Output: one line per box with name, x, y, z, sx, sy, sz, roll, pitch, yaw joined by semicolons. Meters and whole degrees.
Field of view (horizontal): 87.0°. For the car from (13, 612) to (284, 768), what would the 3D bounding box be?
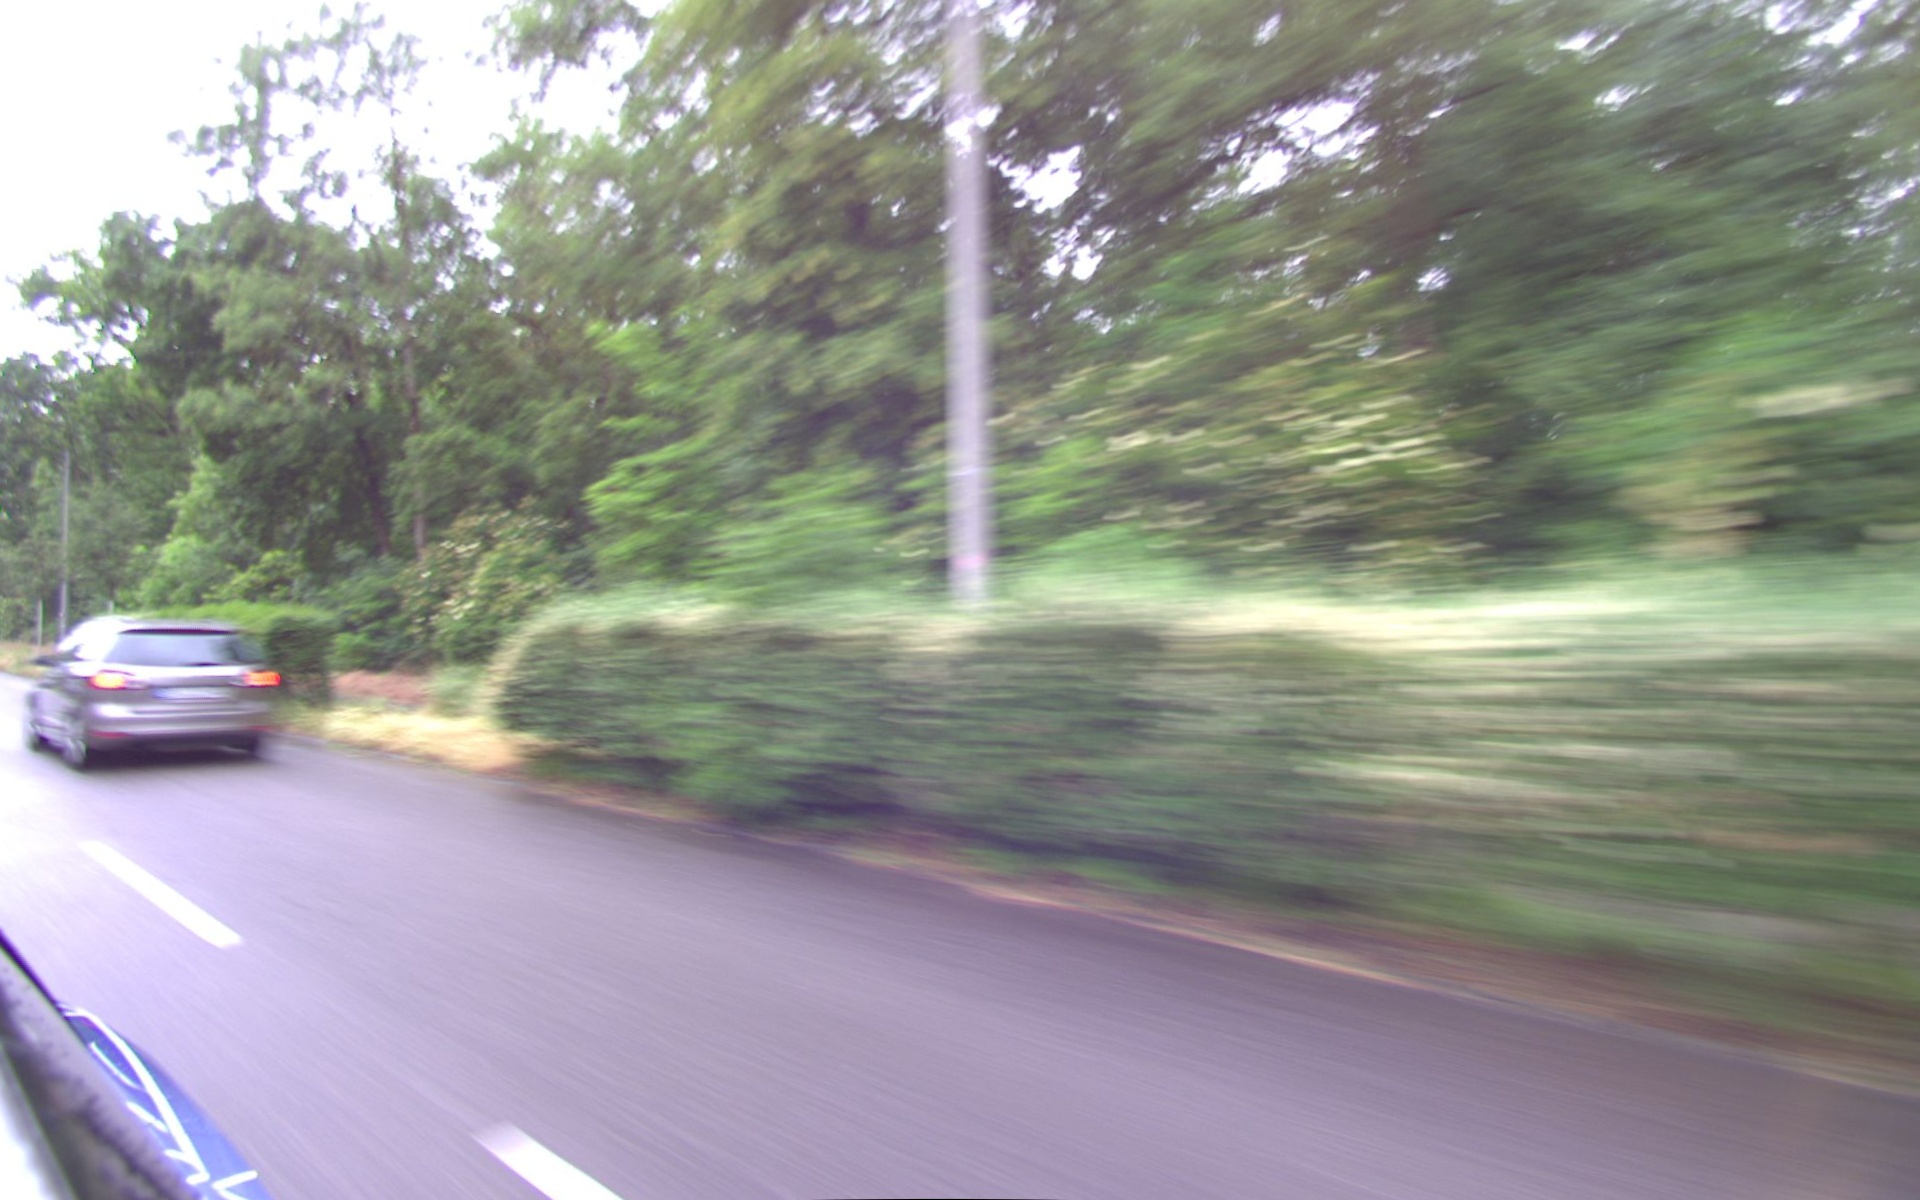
car;-9.478;0.961;11.720;3.997;1.503;1.712;-3;-4;40
